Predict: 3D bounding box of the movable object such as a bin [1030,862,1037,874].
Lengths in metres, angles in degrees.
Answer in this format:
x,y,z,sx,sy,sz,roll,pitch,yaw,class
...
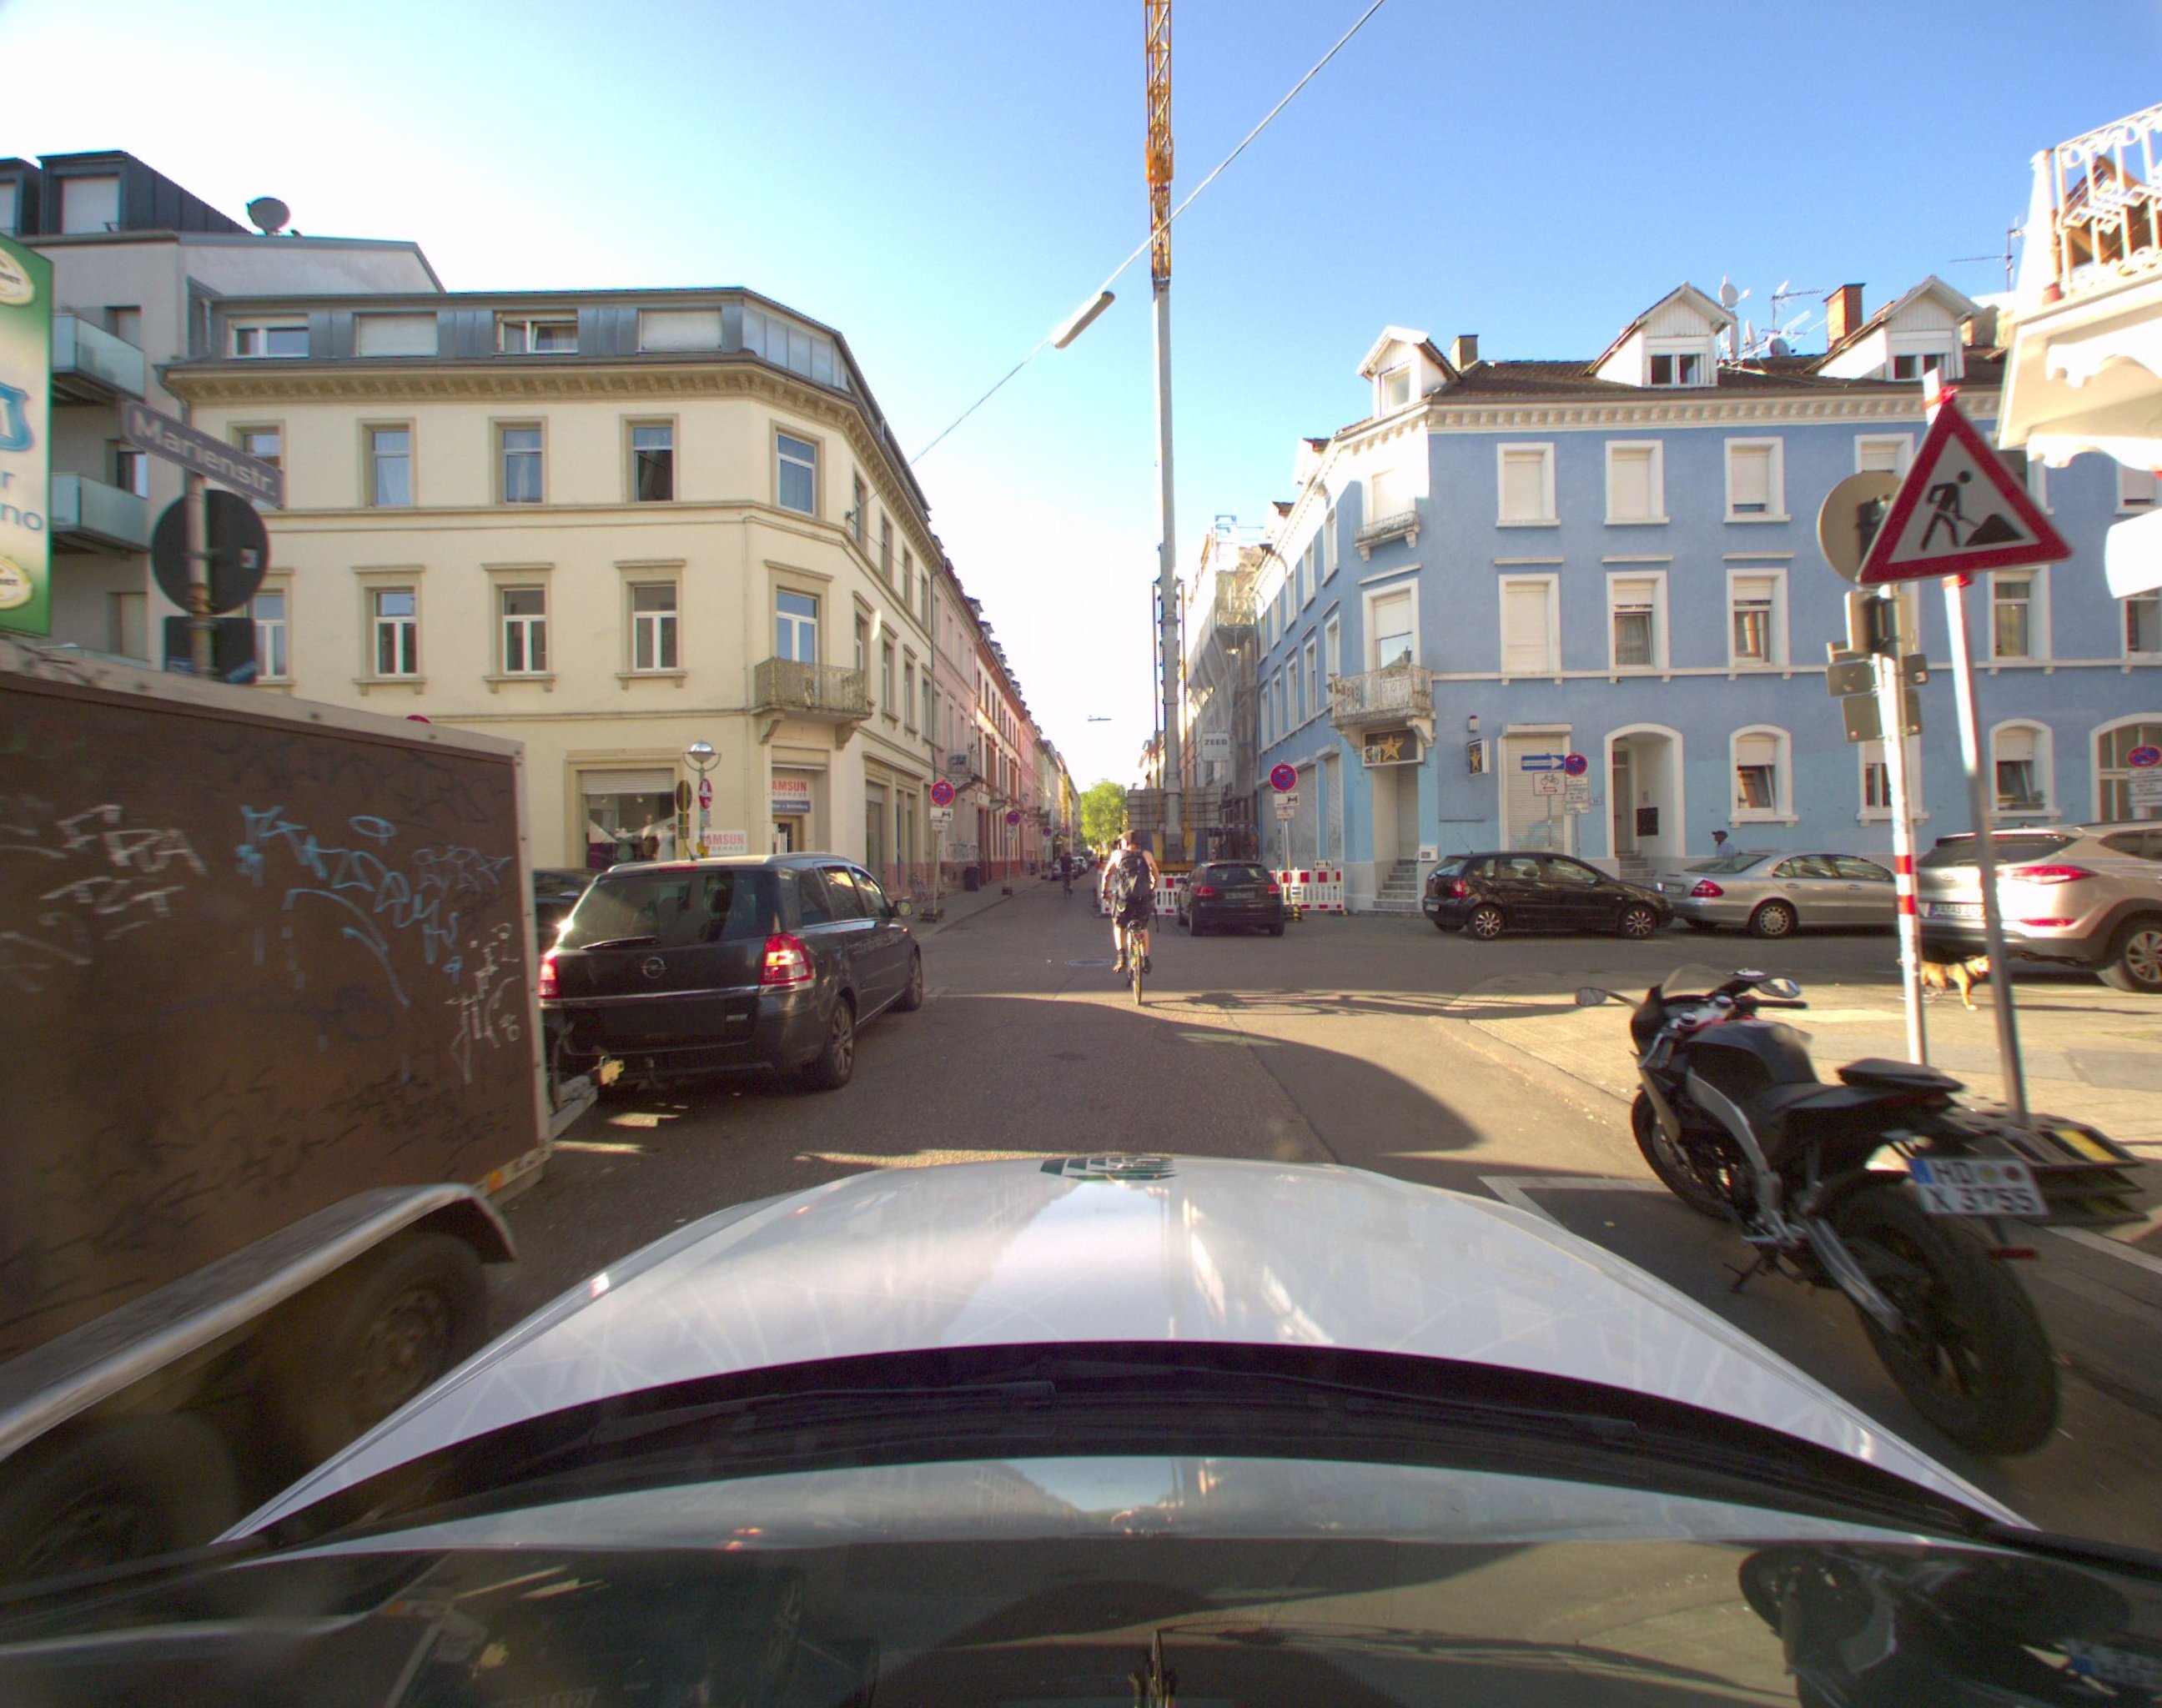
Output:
x,y,z,sx,sy,sz,roll,pitch,yaw,class
-3.612,1.051,61.965,0.541,0.945,0.487,0,-1,2,movable object such as a bin

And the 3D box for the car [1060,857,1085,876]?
x,y,z,sx,sy,sz,roll,pitch,yaw,class
-0.667,1.004,66.770,1.703,1.383,4.360,-1,1,4,car

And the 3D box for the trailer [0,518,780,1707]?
x,y,z,sx,sy,sz,roll,pitch,yaw,class
-2.566,0.531,2.469,1.657,2.061,4.361,-3,-1,-1,trailer

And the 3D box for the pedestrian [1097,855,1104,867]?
x,y,z,sx,sy,sz,roll,pitch,yaw,class
2.449,0.883,101.782,0.768,1.578,0.900,0,-1,0,pedestrian

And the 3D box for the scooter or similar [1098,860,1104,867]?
x,y,z,sx,sy,sz,roll,pitch,yaw,class
2.450,1.232,101.300,0.768,0.873,0.770,0,-1,-1,scooter or similar

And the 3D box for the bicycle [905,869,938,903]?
x,y,z,sx,sy,sz,roll,pitch,yaw,class
-5.042,0.993,25.799,0.620,1.022,1.819,0,0,2,bicycle

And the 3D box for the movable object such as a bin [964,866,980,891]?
x,y,z,sx,sy,sz,roll,pitch,yaw,class
-4.590,1.018,34.385,0.603,1.035,0.596,0,-1,0,movable object such as a bin

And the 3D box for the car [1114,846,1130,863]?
x,y,z,sx,sy,sz,roll,pitch,yaw,class
6.660,0.163,131.855,2.299,2.538,6.772,-3,-1,2,car

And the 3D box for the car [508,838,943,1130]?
x,y,z,sx,sy,sz,roll,pitch,yaw,class
-2.398,0.736,6.777,1.716,1.605,4.165,-3,0,0,car

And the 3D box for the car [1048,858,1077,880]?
x,y,z,sx,sy,sz,roll,pitch,yaw,class
-1.206,1.022,55.818,1.704,1.383,4.507,-3,-1,2,car

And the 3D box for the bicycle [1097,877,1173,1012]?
x,y,z,sx,sy,sz,roll,pitch,yaw,class
0.541,0.884,8.823,0.699,1.208,2.343,-1,-1,2,bicycle

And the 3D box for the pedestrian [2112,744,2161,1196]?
x,y,z,sx,sy,sz,roll,pitch,yaw,class
4.641,0.437,2.796,0.823,1.793,0.990,-4,-1,1,pedestrian

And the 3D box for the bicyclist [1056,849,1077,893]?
x,y,z,sx,sy,sz,roll,pitch,yaw,class
-0.534,0.619,30.821,0.699,1.605,0.813,-2,1,1,bicyclist

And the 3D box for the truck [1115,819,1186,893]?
x,y,z,sx,sy,sz,roll,pitch,yaw,class
2.789,0.117,34.482,2.651,2.814,7.396,0,-1,2,truck

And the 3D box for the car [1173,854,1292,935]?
x,y,z,sx,sy,sz,roll,pitch,yaw,class
2.960,0.736,16.692,1.765,1.434,4.034,0,0,1,car

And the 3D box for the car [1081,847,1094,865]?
x,y,z,sx,sy,sz,roll,pitch,yaw,class
0.951,0.277,120.680,1.903,2.497,4.164,-2,0,0,car

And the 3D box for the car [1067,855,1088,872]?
x,y,z,sx,sy,sz,roll,pitch,yaw,class
-0.300,0.847,73.568,1.666,1.442,4.166,-3,-1,1,car

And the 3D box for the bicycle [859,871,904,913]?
x,y,z,sx,sy,sz,roll,pitch,yaw,class
-5.166,0.961,21.194,0.601,1.022,1.819,3,-1,2,bicycle

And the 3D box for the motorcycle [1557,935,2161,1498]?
x,y,z,sx,sy,sz,roll,pitch,yaw,class
2.447,0.934,2.899,0.714,1.086,2.003,1,0,12,motorcycle

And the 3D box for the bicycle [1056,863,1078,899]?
x,y,z,sx,sy,sz,roll,pitch,yaw,class
-0.516,0.987,30.824,0.699,1.208,2.343,-2,1,1,bicycle

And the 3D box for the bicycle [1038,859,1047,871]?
x,y,z,sx,sy,sz,roll,pitch,yaw,class
-3.548,1.043,75.215,0.590,1.089,2.080,0,-1,2,bicycle

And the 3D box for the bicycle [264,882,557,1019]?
x,y,z,sx,sy,sz,roll,pitch,yaw,class
-7.327,1.032,8.993,2.466,1.359,0.929,-1,-1,2,bicycle

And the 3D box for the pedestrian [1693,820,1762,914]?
x,y,z,sx,sy,sz,roll,pitch,yaw,class
13.094,0.264,16.520,0.766,1.849,0.780,0,-1,1,pedestrian

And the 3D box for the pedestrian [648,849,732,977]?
x,y,z,sx,sy,sz,roll,pitch,yaw,class
-5.566,0.808,11.623,0.691,1.701,0.865,3,2,1,pedestrian

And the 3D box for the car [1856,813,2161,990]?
x,y,z,sx,sy,sz,roll,pitch,yaw,class
11.021,0.453,8.476,4.043,1.632,1.857,-1,-2,2,car

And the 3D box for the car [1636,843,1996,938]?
x,y,z,sx,sy,sz,roll,pitch,yaw,class
12.240,0.574,13.810,4.451,1.434,1.759,-1,1,3,car

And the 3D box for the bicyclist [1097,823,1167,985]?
x,y,z,sx,sy,sz,roll,pitch,yaw,class
0.535,0.510,8.821,0.699,1.633,1.090,-1,-1,2,bicyclist

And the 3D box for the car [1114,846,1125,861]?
x,y,z,sx,sy,sz,roll,pitch,yaw,class
9.644,-0.107,204.974,2.299,3.767,6.772,-3,-1,2,car

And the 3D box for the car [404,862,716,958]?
x,y,z,sx,sy,sz,roll,pitch,yaw,class
-8.701,0.896,13.867,4.127,1.455,1.758,-1,0,-1,car

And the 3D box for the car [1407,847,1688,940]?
x,y,z,sx,sy,sz,roll,pitch,yaw,class
7.837,0.637,13.945,3.853,1.453,1.677,-1,0,1,car
